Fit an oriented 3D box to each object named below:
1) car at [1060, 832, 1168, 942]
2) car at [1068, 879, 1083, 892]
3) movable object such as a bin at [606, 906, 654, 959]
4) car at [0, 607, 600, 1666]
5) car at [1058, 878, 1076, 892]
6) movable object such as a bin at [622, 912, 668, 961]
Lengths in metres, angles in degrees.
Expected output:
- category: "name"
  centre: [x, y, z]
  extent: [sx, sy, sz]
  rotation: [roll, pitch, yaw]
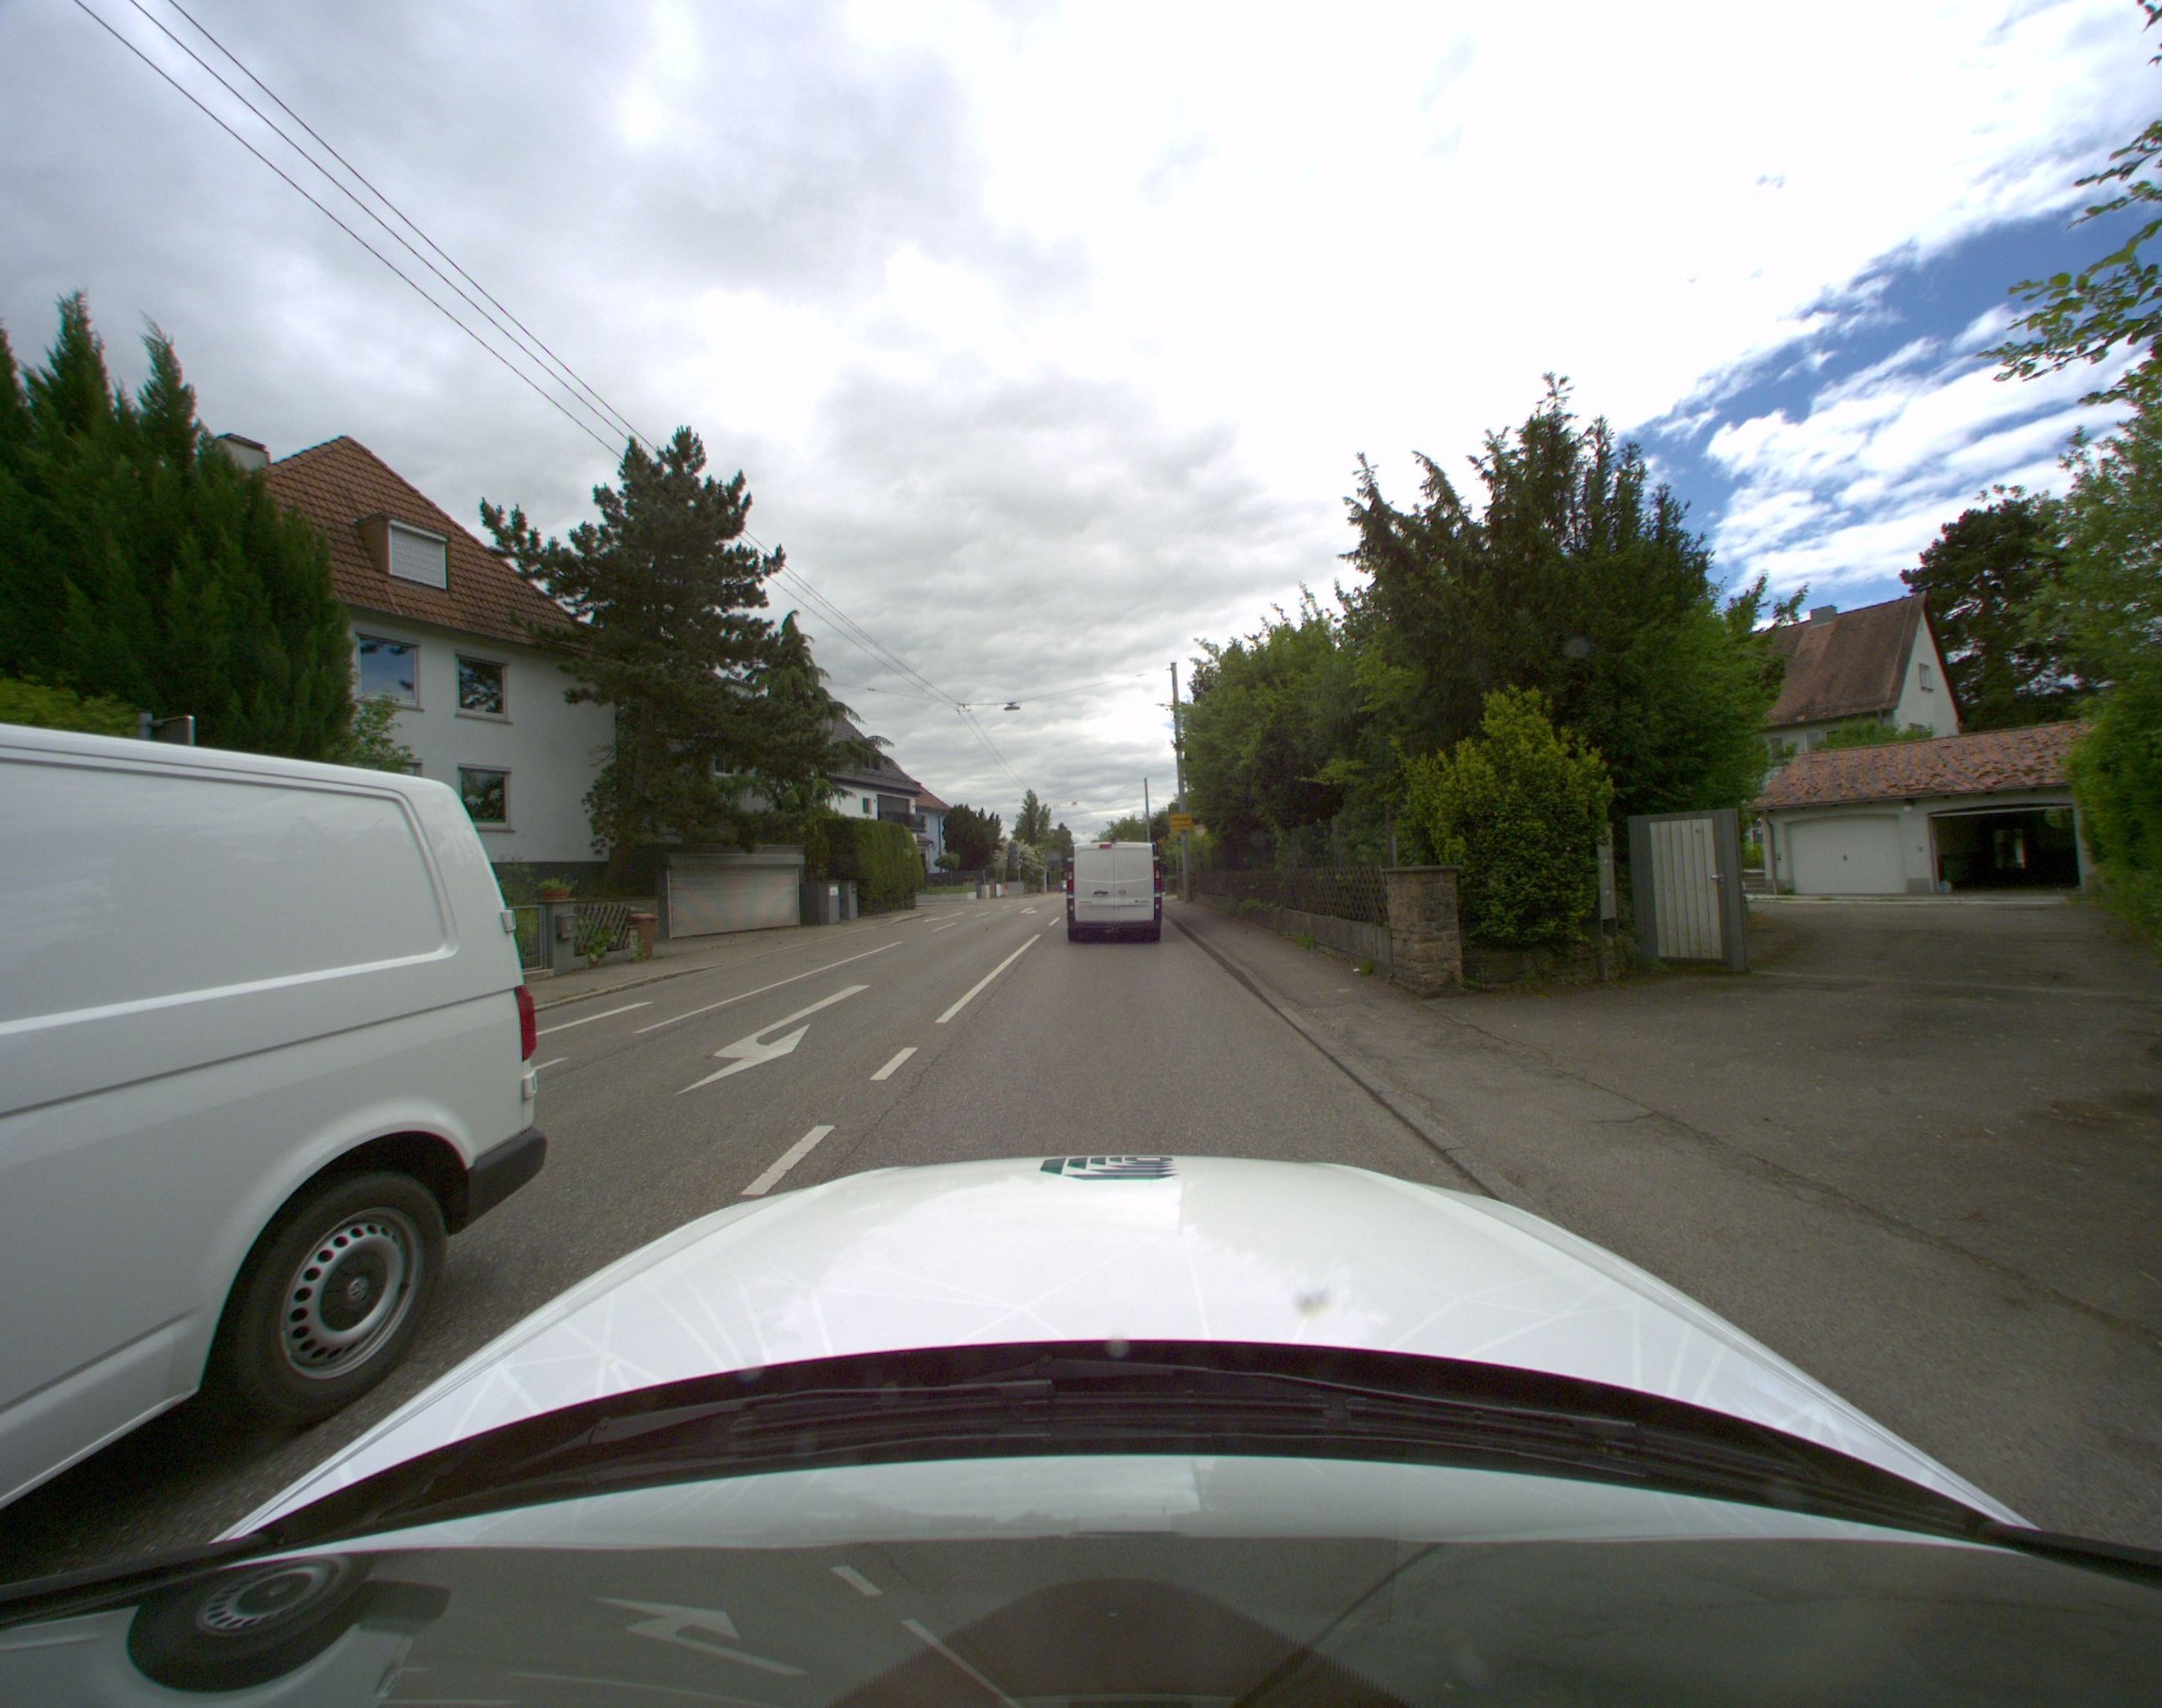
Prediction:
- category: "car"
  centre: [0.711, 0.648, 17.756]
  extent: [1.998, 2.038, 5.012]
  rotation: [-1, -1, 2]
- category: "car"
  centre: [-0.718, 4.296, 111.536]
  extent: [1.672, 1.556, 3.973]
  rotation: [-4, -3, 3]
- category: "movable object such as a bin"
  centre: [-9.353, 1.623, 16.896]
  extent: [0.474, 1.035, 0.721]
  rotation: [-3, -1, 31]
- category: "car"
  centre: [-3.066, 0.568, 0.831]
  extent: [1.851, 2.048, 5.173]
  rotation: [-3, -1, 2]
- category: "car"
  centre: [-1.625, 3.653, 96.716]
  extent: [1.803, 1.455, 4.414]
  rotation: [-5, -2, 2]
- category: "movable object such as a bin"
  centre: [-8.876, 1.668, 16.586]
  extent: [0.459, 0.942, 0.651]
  rotation: [-3, -1, 31]
